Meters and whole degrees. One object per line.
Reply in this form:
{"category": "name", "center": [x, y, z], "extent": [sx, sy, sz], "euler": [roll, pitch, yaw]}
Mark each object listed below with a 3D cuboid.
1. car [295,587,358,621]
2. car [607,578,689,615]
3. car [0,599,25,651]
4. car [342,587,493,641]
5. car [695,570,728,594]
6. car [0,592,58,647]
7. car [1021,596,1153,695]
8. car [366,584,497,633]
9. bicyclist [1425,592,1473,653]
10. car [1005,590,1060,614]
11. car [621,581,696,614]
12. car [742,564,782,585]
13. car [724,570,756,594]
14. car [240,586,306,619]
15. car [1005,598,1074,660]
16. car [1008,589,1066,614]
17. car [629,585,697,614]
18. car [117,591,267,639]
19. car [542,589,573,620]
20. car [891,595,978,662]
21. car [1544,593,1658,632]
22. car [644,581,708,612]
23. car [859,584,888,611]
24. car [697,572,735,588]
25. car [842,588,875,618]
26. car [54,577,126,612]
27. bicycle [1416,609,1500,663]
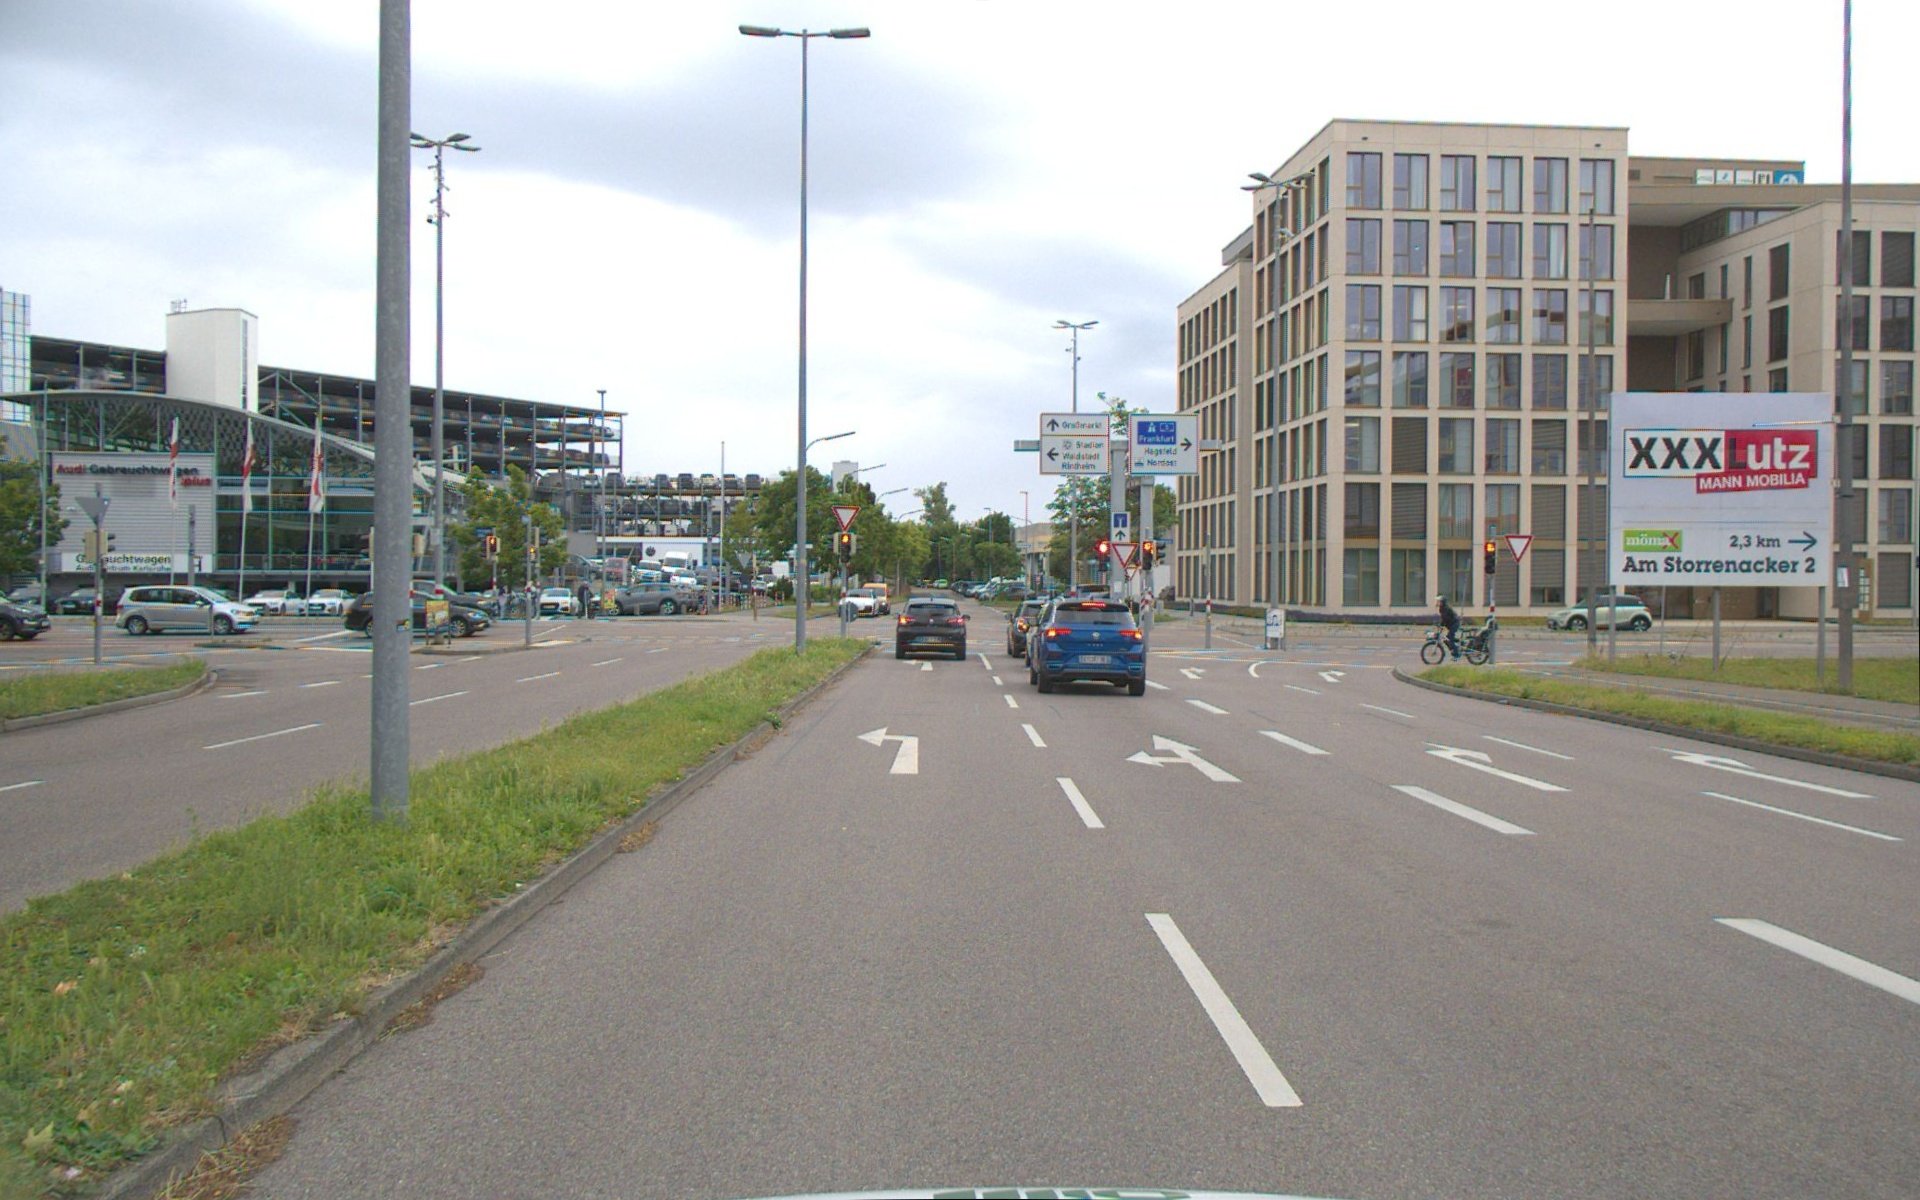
{"category": "car", "center": [-29.807, 0.183, 77.885], "extent": [1.684, 1.425, 3.535], "euler": [1, 2, -2]}
{"category": "car", "center": [-15.852, -0.189, 84.142], "extent": [3.910, 1.821, 1.845], "euler": [0, 2, -6]}
{"category": "car", "center": [-33.921, 0.923, 55.473], "extent": [3.911, 1.690, 1.998], "euler": [-3, 2, -7]}
{"category": "car", "center": [-17.544, 0.447, 53.692], "extent": [4.334, 1.689, 1.996], "euler": [1, 0, -9]}
{"category": "car", "center": [-19.188, -1.439, 127.992], "extent": [1.739, 1.735, 3.919], "euler": [1, 2, 3]}
{"category": "car", "center": [-31.235, 0.622, 52.134], "extent": [4.458, 1.689, 1.996], "euler": [-1, 1, -9]}
{"category": "car", "center": [2.083, 0.727, 28.193], "extent": [1.798, 1.541, 3.998], "euler": [1, 0, -2]}
{"category": "car", "center": [-19.184, 0.310, 60.193], "extent": [4.324, 1.672, 1.995], "euler": [0, 2, -12]}
{"category": "bicyclist", "center": [12.710, 0.572, 42.980], "extent": [0.982, 1.530, 0.698], "euler": [1, 1, 41]}
{"category": "car", "center": [5.073, 0.144, 115.964], "extent": [3.528, 1.504, 1.761], "euler": [1, 2, 19]}
{"category": "car", "center": [-15.768, -0.128, 86.558], "extent": [3.749, 1.617, 1.680], "euler": [0, 2, -6]}
{"category": "car", "center": [-16.542, -2.111, 138.157], "extent": [3.231, 1.669, 1.478], "euler": [0, 2, -5]}
{"category": "car", "center": [-17.044, -1.420, 128.099], "extent": [1.739, 1.735, 3.919], "euler": [1, 2, 3]}
{"category": "car", "center": [-32.261, 0.101, 77.766], "extent": [1.684, 1.425, 3.535], "euler": [1, 2, -2]}
{"category": "car", "center": [2.028, 0.713, 42.852], "extent": [1.494, 1.457, 3.389], "euler": [1, 1, -2]}
{"category": "car", "center": [5.131, 0.075, 110.024], "extent": [3.527, 1.504, 1.761], "euler": [1, 2, 17]}
{"category": "car", "center": [-16.349, -0.030, 91.084], "extent": [3.536, 1.502, 1.547], "euler": [0, 2, -6]}
{"category": "car", "center": [-25.949, 0.493, 56.004], "extent": [4.169, 1.535, 1.997], "euler": [0, 2, -9]}
{"category": "car", "center": [-19.266, 0.221, 79.094], "extent": [1.348, 1.349, 3.022], "euler": [0, 2, -15]}
{"category": "car", "center": [-0.677, 0.655, 40.643], "extent": [1.948, 1.453, 4.239], "euler": [1, 1, -3]}
{"category": "car", "center": [26.992, 0.522, 69.718], "extent": [4.108, 1.516, 1.694], "euler": [1, 2, -2]}
{"category": "car", "center": [-16.270, -0.229, 94.804], "extent": [3.536, 1.697, 1.547], "euler": [0, 2, -6]}
{"category": "car", "center": [-5.016, -0.152, 96.448], "extent": [1.568, 1.478, 3.324], "euler": [1, 2, -1]}
{"category": "car", "center": [-23.507, -1.928, 159.243], "extent": [3.594, 1.555, 1.611], "euler": [0, 2, -9]}
{"category": "car", "center": [-5.402, 0.157, 88.292], "extent": [1.568, 1.478, 3.324], "euler": [1, 2, -1]}
{"category": "car", "center": [-40.449, -0.283, 76.942], "extent": [1.566, 1.511, 3.535], "euler": [1, 2, -2]}
{"category": "bicycle", "center": [12.887, 0.913, 42.841], "extent": [1.974, 1.318, 0.698], "euler": [1, 1, 41]}
